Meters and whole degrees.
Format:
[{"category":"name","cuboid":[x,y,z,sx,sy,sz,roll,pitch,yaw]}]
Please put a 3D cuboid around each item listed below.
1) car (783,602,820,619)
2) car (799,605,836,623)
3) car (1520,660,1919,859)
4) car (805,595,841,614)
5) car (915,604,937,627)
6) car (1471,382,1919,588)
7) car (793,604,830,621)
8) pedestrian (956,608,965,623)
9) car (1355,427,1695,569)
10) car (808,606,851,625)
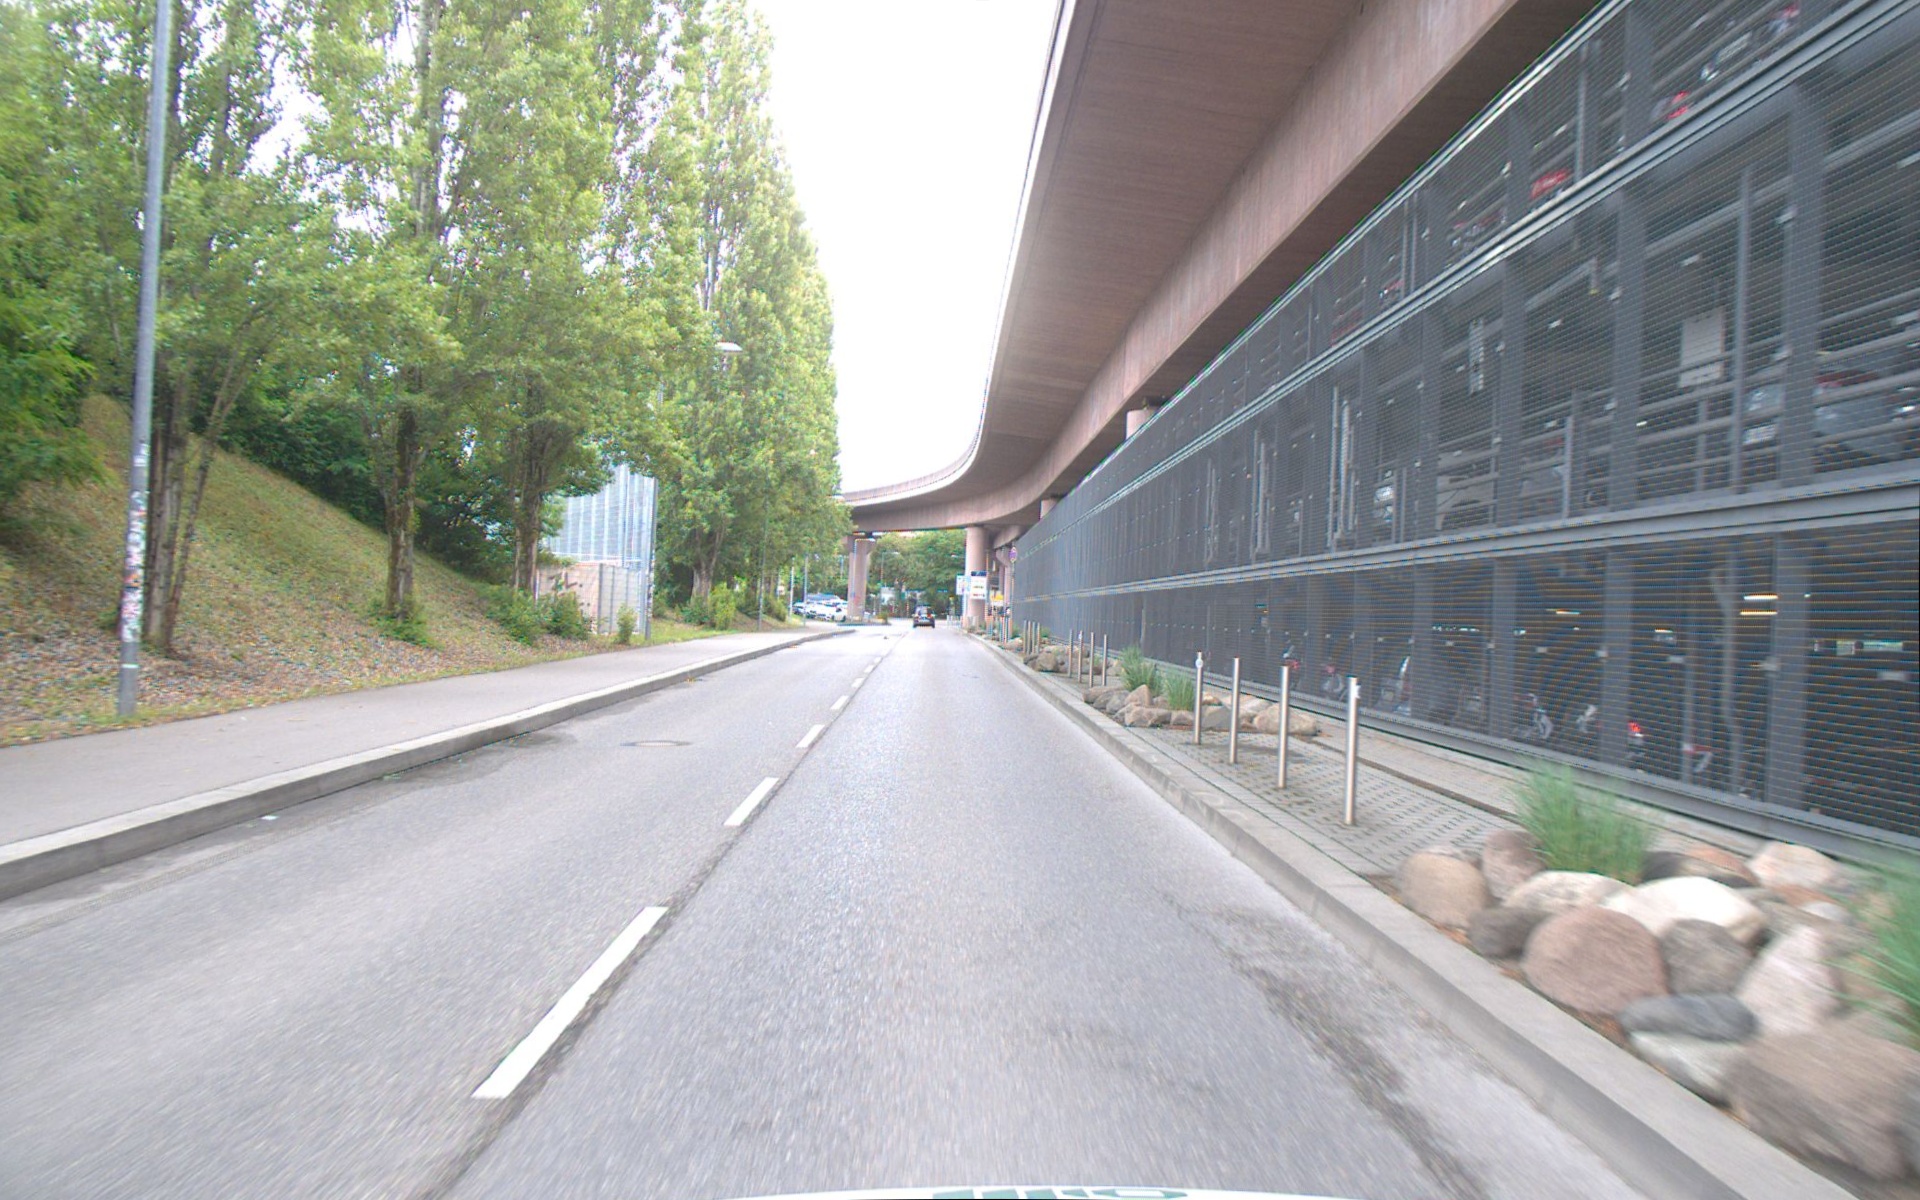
[{"category":"car","cuboid":[-16.875,1.151,176.243,1.774,1.746,3.653,3,1,40]},{"category":"car","cuboid":[-14.613,1.400,169.778,1.694,1.746,3.653,3,1,40]},{"category":"car","cuboid":[7.363,1.419,14.999,3.906,1.492,1.810,3,0,-1]},{"category":"car","cuboid":[-16.309,0.520,196.609,4.129,2.049,1.999,2,0,-3]},{"category":"car","cuboid":[-2.813,1.314,138.170,1.802,1.741,3.705,2,1,-1]},{"category":"car","cuboid":[7.569,-1.153,17.217,3.906,1.899,1.731,2,1,-1]},{"category":"car","cuboid":[-15.508,1.300,173.003,1.694,1.746,3.653,3,1,40]},{"category":"pedestrian","cuboid":[0.089,1.969,215.256,0.761,1.909,0.816,1,1,-32]},{"category":"car","cuboid":[7.504,-1.333,22.257,3.905,1.686,1.832,2,1,1]},{"category":"car","cuboid":[-13.032,1.563,165.427,1.851,1.746,4.131,3,1,40]}]
